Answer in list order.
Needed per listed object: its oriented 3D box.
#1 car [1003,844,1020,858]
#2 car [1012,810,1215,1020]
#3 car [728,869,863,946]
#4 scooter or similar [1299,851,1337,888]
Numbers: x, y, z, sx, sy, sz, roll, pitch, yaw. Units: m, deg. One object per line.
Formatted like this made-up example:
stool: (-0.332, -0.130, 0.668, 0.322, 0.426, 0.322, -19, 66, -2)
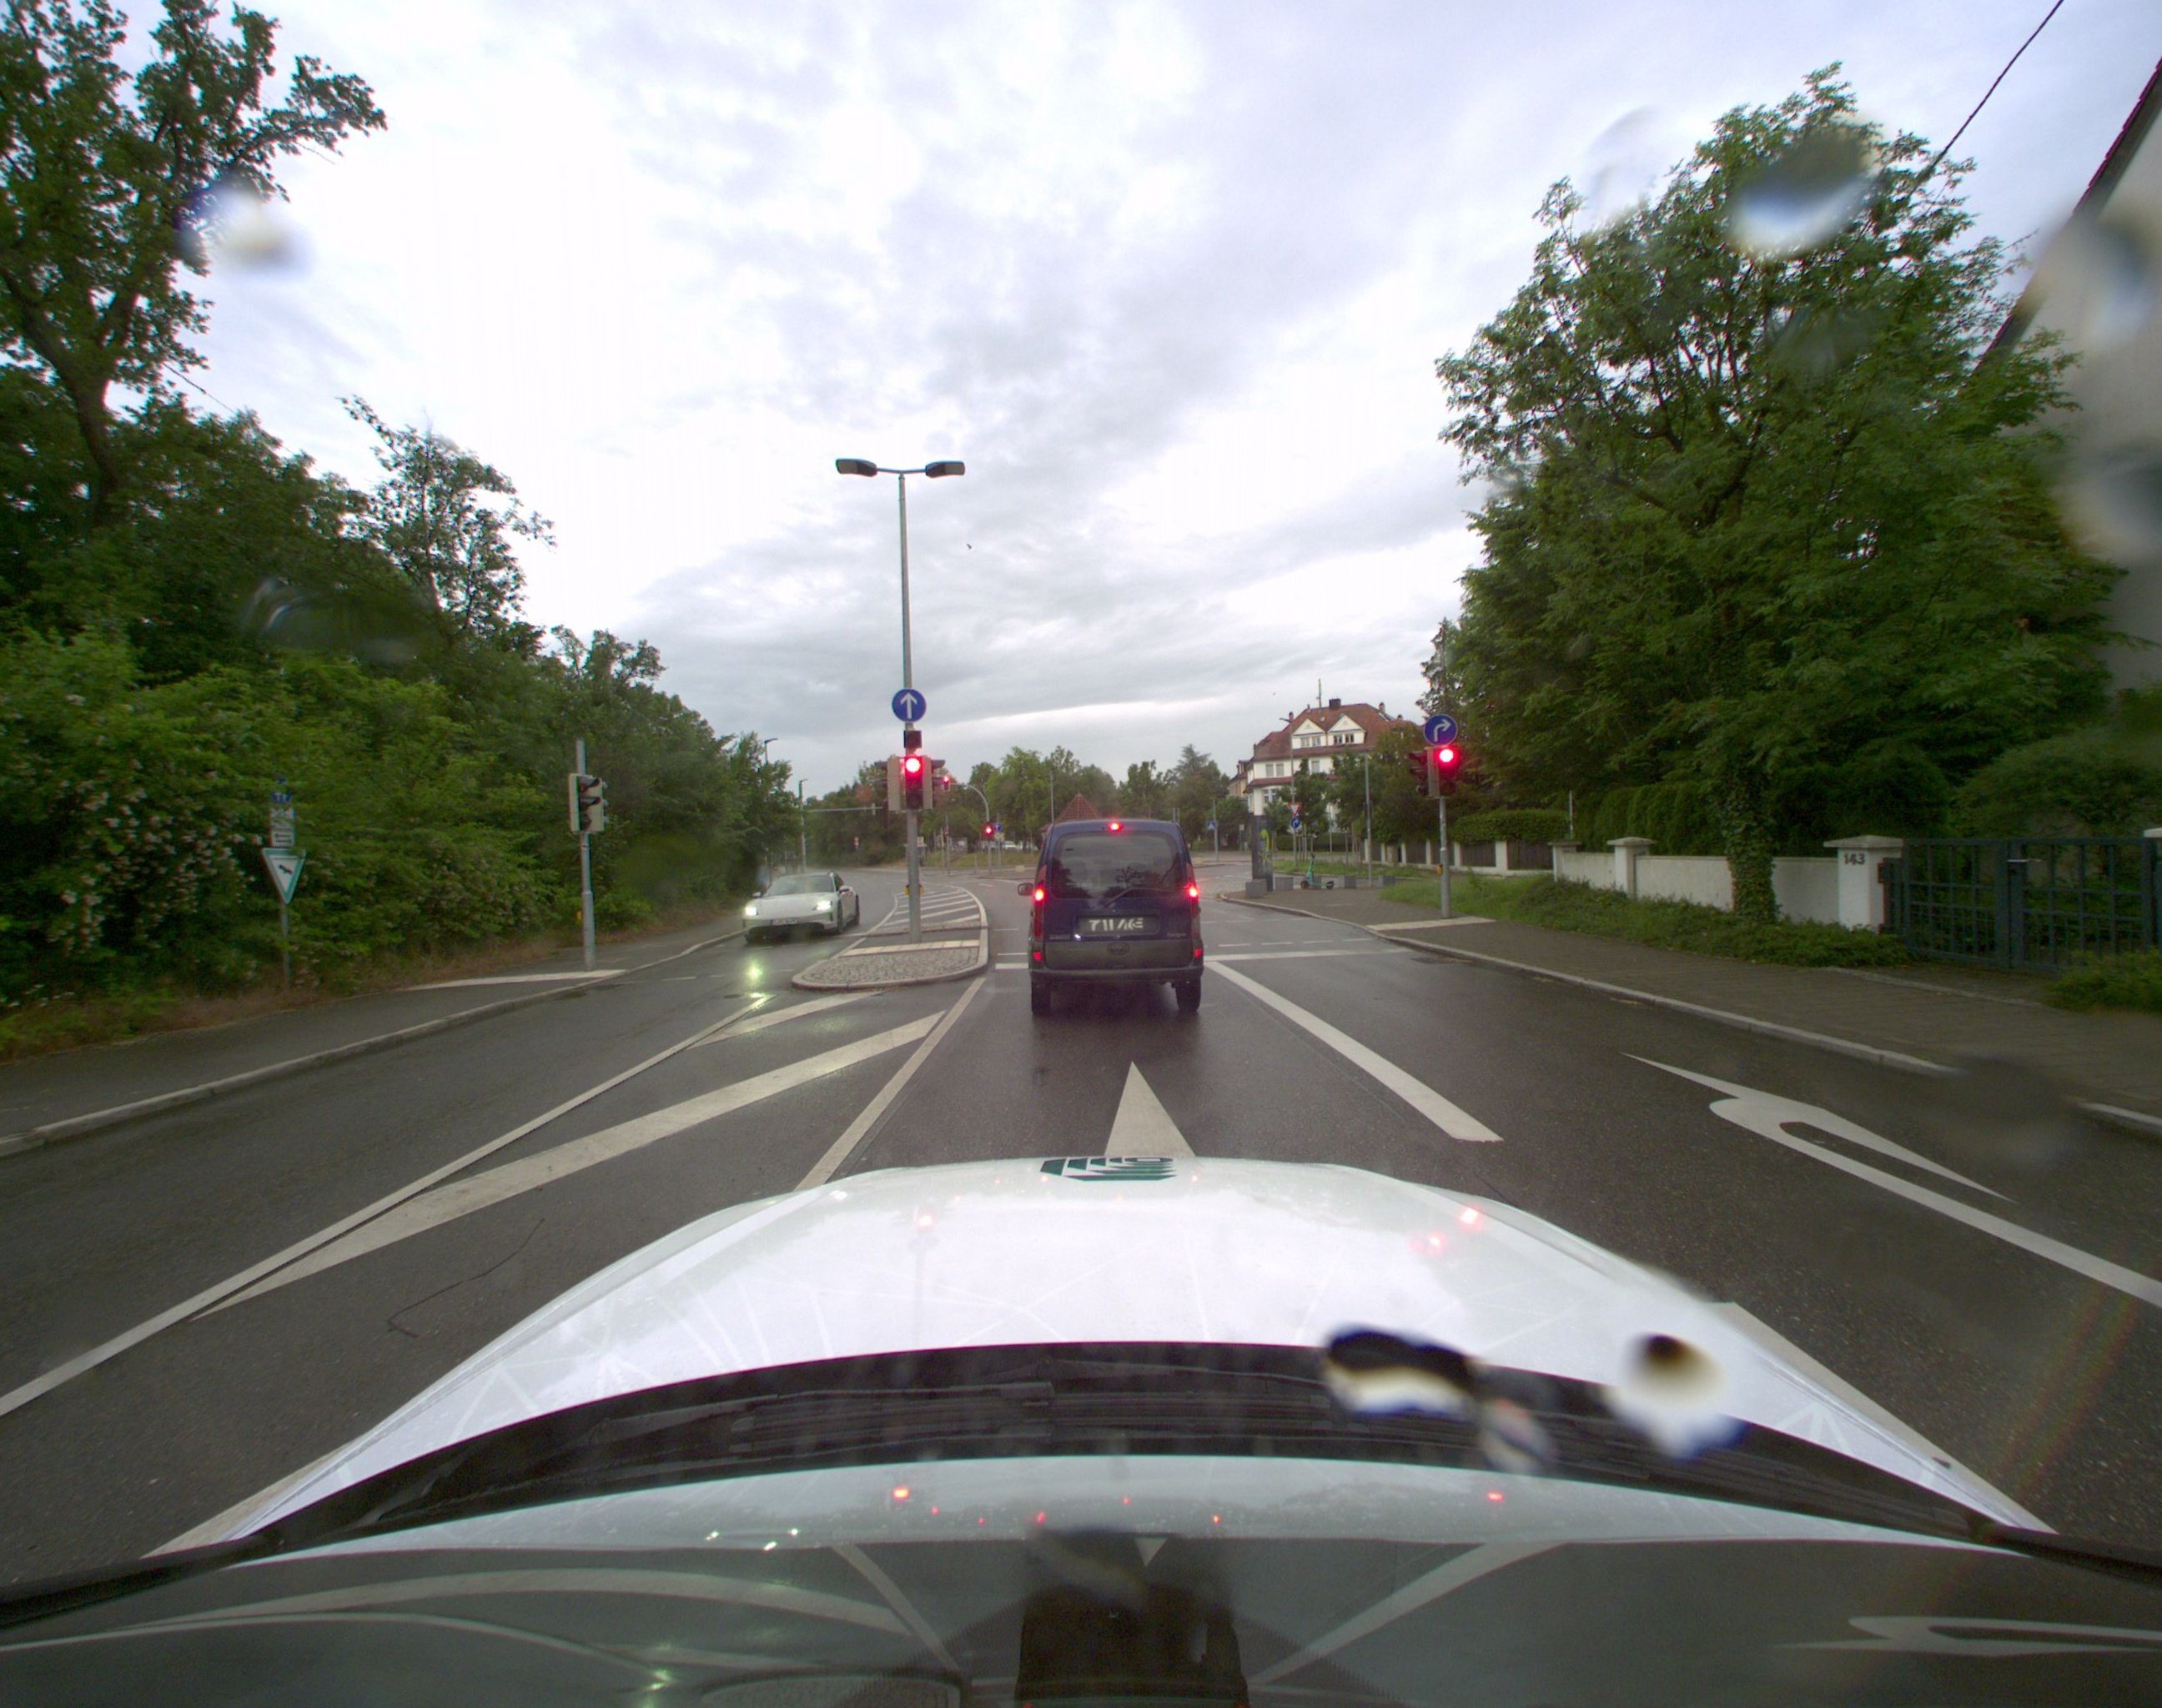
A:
car: (-9.434, -0.421, 110.532, 1.988, 1.812, 3.997, -1, -1, -1)
car: (0.287, 0.520, 9.091, 1.726, 1.786, 3.999, -1, 0, 0)
car: (-6.350, 1.118, 18.654, 1.993, 1.311, 4.347, -5, 1, -8)
scooter or similar: (8.077, 0.517, 27.790, 1.145, 1.219, 0.406, -2, -1, 1)
